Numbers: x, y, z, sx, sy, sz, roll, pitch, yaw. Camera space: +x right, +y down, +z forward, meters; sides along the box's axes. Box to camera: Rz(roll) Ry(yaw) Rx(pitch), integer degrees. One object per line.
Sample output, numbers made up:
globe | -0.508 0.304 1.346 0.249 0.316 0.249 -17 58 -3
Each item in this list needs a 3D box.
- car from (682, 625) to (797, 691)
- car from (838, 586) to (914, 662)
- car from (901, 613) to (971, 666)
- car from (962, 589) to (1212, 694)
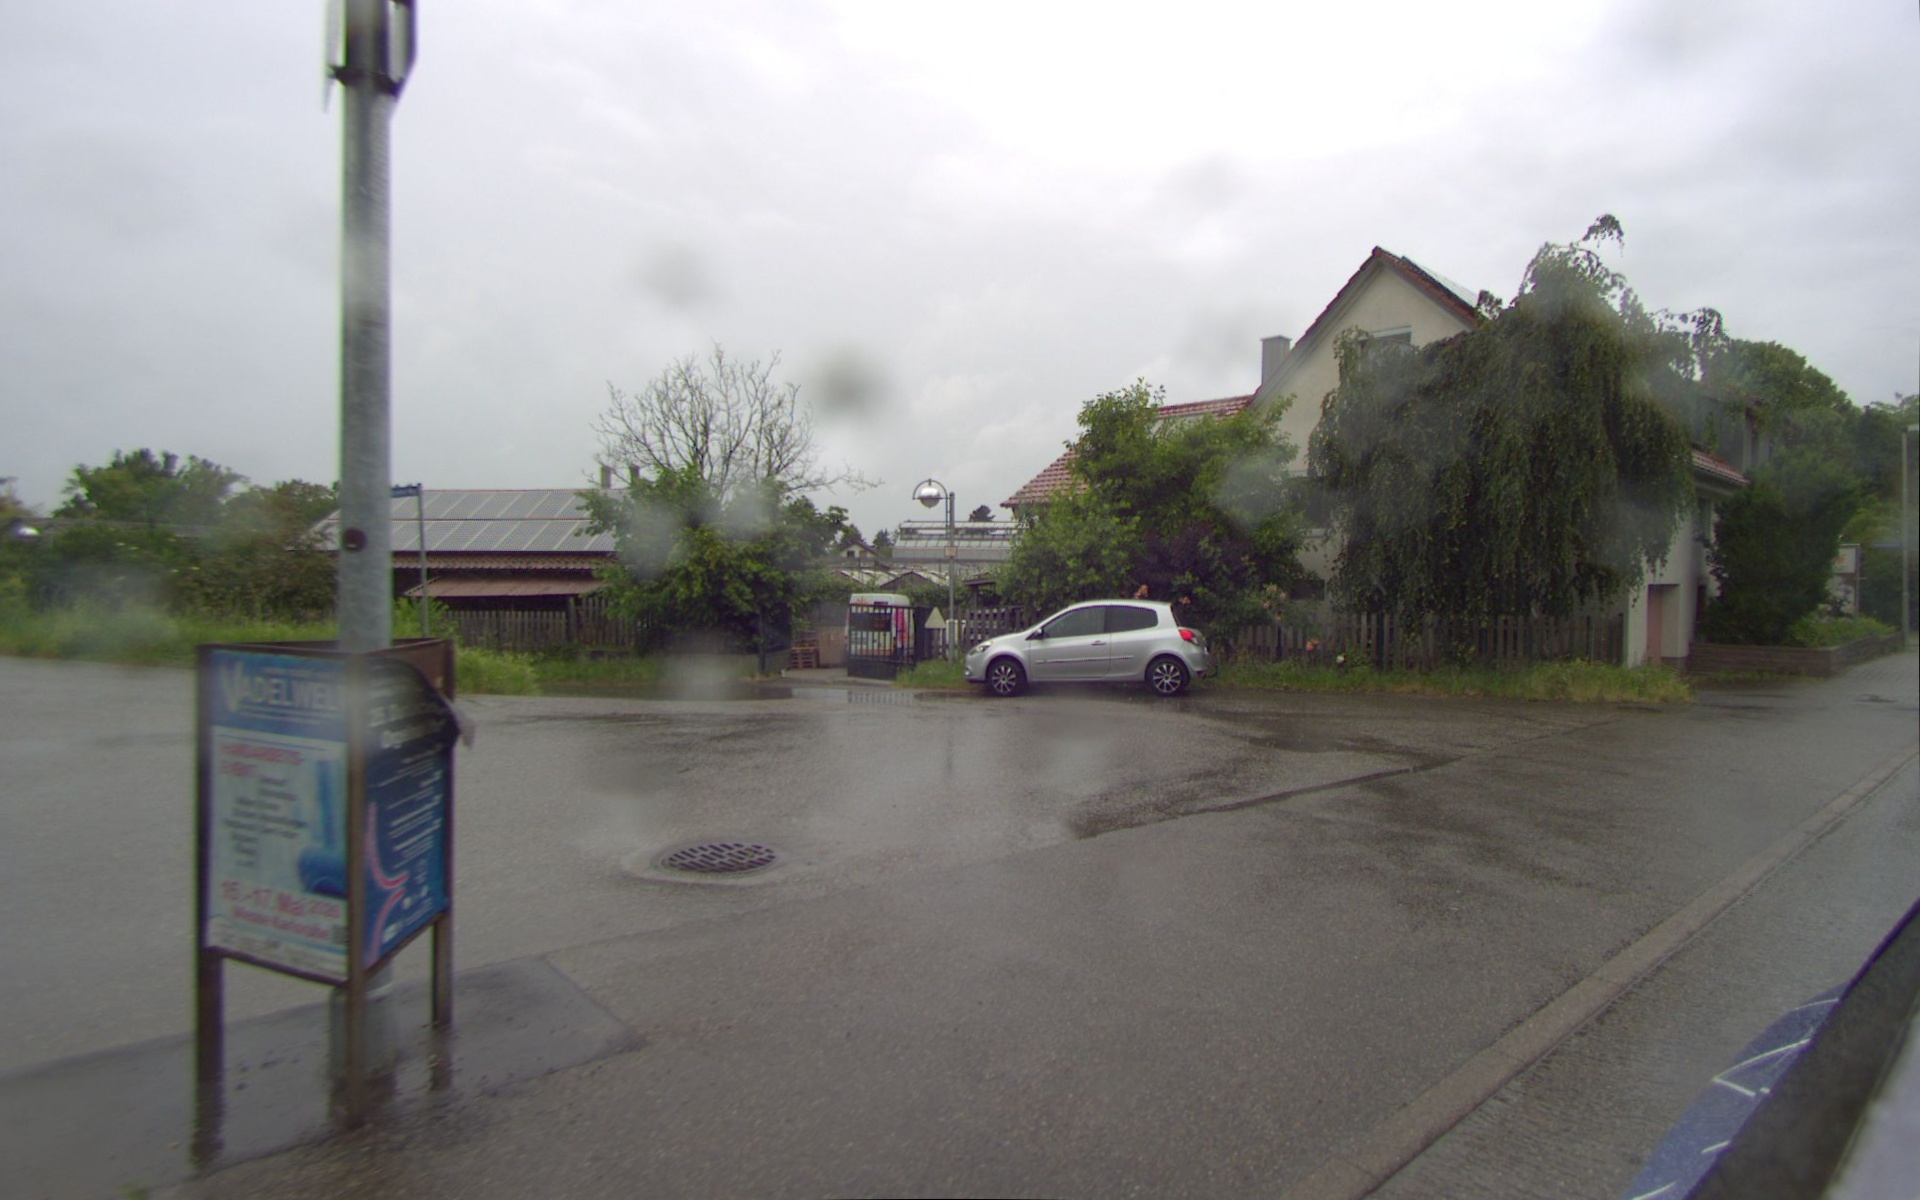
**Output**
car | -6.050 1.539 28.240 1.965 1.570 3.993 1 0 6
car | -2.951 0.808 36.457 1.966 2.543 3.993 1 0 7
car | -0.789 1.361 36.348 1.901 1.705 3.991 -1 0 8
car | 2.096 0.623 16.395 3.803 1.551 1.710 -1 0 17
